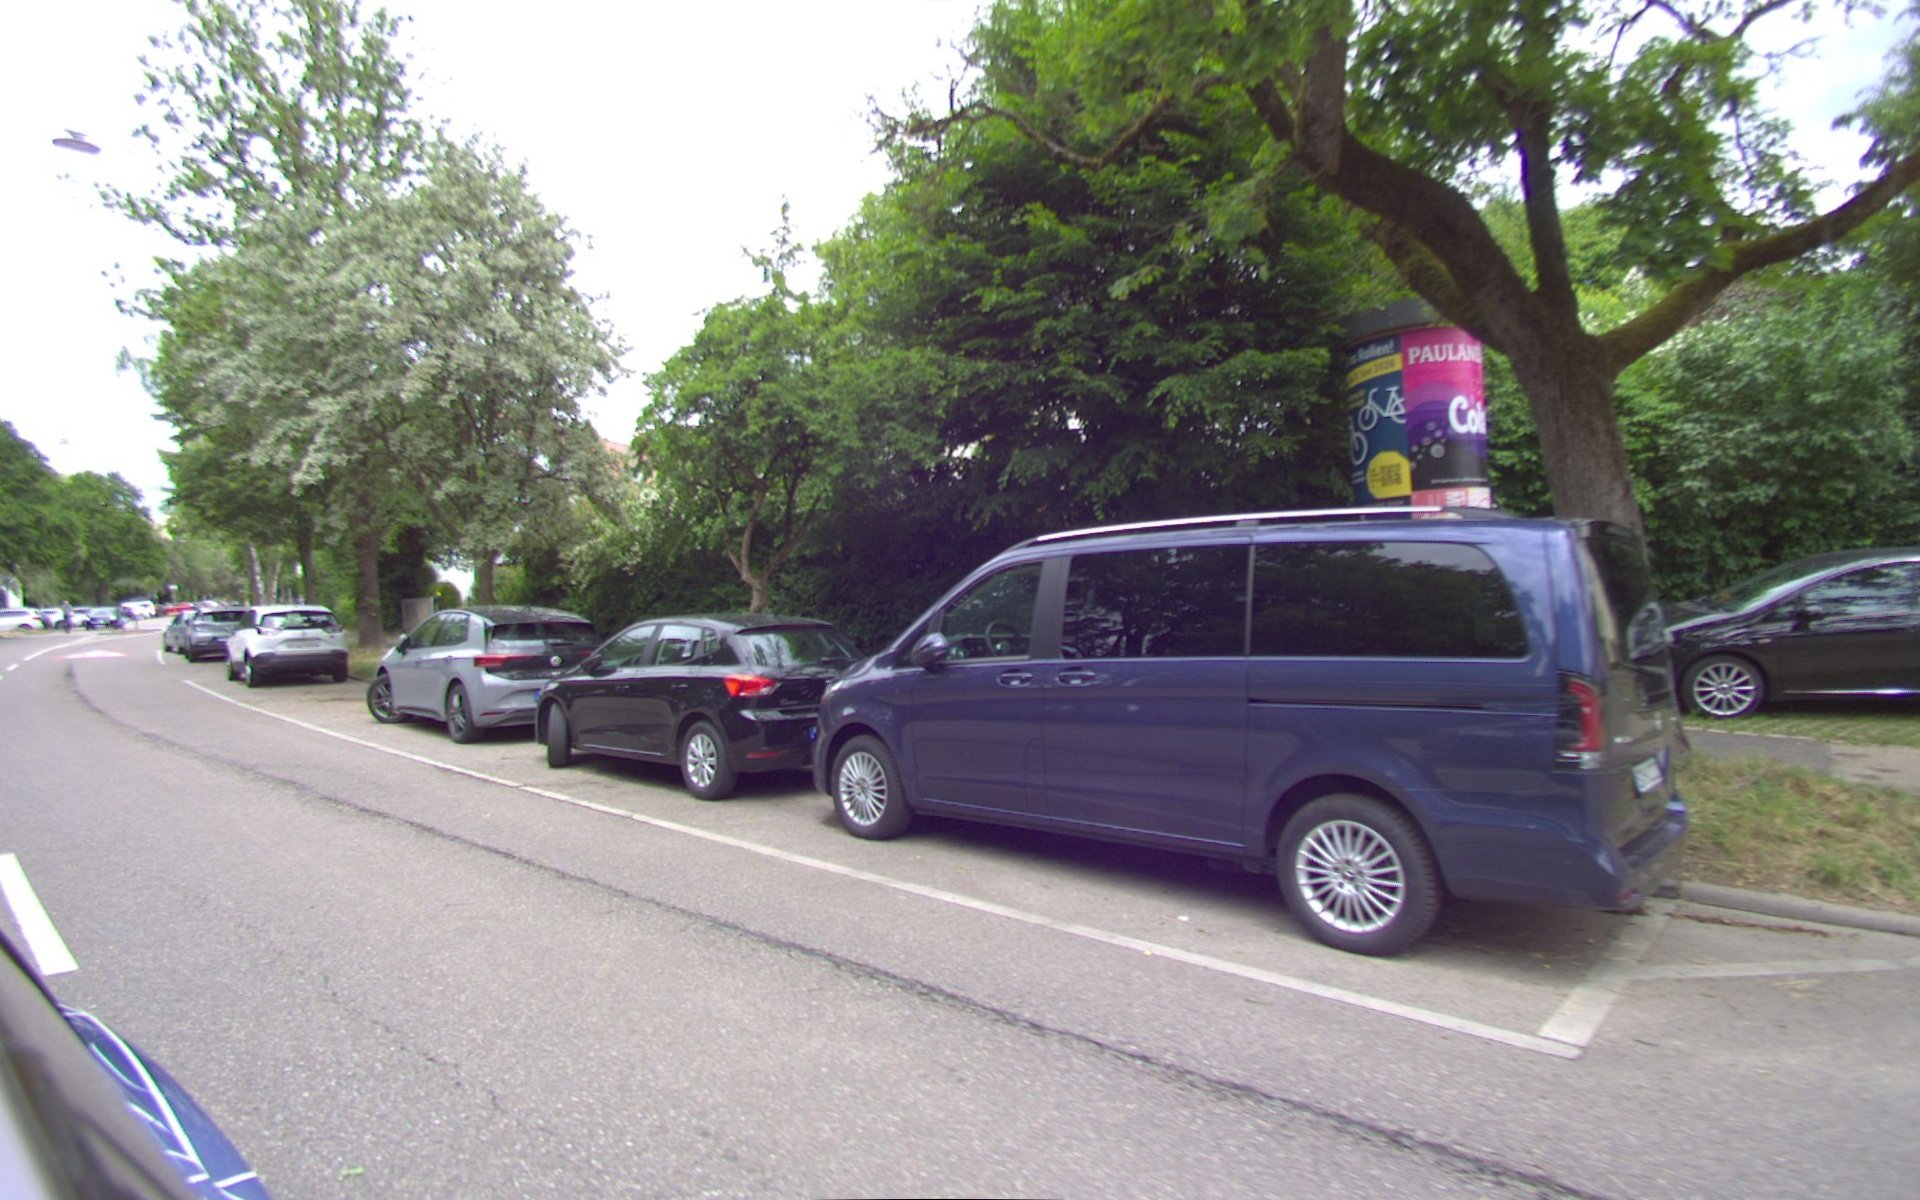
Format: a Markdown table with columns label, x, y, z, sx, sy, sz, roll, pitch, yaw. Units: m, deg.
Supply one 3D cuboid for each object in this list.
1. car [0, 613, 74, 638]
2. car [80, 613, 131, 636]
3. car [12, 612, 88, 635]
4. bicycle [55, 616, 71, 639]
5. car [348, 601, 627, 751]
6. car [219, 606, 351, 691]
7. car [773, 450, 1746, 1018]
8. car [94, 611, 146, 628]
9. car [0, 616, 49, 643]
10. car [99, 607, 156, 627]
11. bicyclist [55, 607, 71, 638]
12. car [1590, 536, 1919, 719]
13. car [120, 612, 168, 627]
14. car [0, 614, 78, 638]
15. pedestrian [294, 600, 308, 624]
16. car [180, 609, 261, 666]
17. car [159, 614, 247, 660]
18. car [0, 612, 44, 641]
| label | x | y | z | sx | sy | sz | roll | pitch | yaw |
| --- | --- | --- | --- | --- | --- | --- | --- | --- | --- |
| car | -65.988 | 1.832 | 72.086 | 1.862 | 1.475 | 3.954 | -2 | 2 | 35 |
| car | -57.193 | 1.593 | 67.778 | 1.830 | 1.384 | 4.088 | -3 | 1 | -29 |
| car | -70.484 | 1.800 | 78.415 | 1.841 | 1.475 | 3.965 | -2 | 2 | 27 |
| bicycle | -52.350 | 1.590 | 59.080 | 0.638 | 1.246 | 1.880 | -2 | 1 | -41 |
| car | -6.114 | 0.832 | 12.858 | 4.229 | 1.549 | 1.845 | -1 | 0 | 45 |
| car | -14.239 | 0.936 | 21.253 | 1.715 | 1.590 | 4.146 | 0 | 0 | -42 |
| car | 1.224 | 0.468 | 5.833 | 5.082 | 1.923 | 1.838 | -1 | 0 | 43 |
| car | -84.527 | 1.909 | 101.869 | 3.801 | 1.449 | 1.717 | -5 | 3 | -44 |
| car | -59.627 | 1.889 | 63.031 | 1.797 | 1.475 | 4.091 | -1 | 2 | 41 |
| car | -85.969 | 1.756 | 104.561 | 1.855 | 1.771 | 4.173 | -2 | 2 | 35 |
| bicyclist | -52.281 | 1.312 | 59.002 | 0.637 | 1.792 | 0.629 | -2 | 1 | -42 |
| car | 8.343 | 0.204 | 9.410 | 3.965 | 1.488 | 1.766 | -1 | 4 | 24 |
| car | -88.574 | 2.103 | 109.878 | 3.801 | 1.445 | 1.656 | -5 | 3 | -44 |
| car | -67.606 | 1.897 | 74.260 | 1.792 | 1.475 | 3.954 | -2 | 2 | 35 |
| pedestrian | -47.825 | 0.860 | 73.467 | 0.683 | 1.723 | 0.779 | -3 | 1 | -39 |
| car | -21.968 | 1.062 | 30.014 | 1.713 | 1.549 | 4.197 | 0 | 0 | -39 |
| car | -25.571 | 1.211 | 34.140 | 4.474 | 1.427 | 1.716 | -1 | 0 | 45 |
| car | -58.762 | 1.697 | 61.556 | 4.416 | 1.597 | 1.909 | -4 | 2 | -43 |
